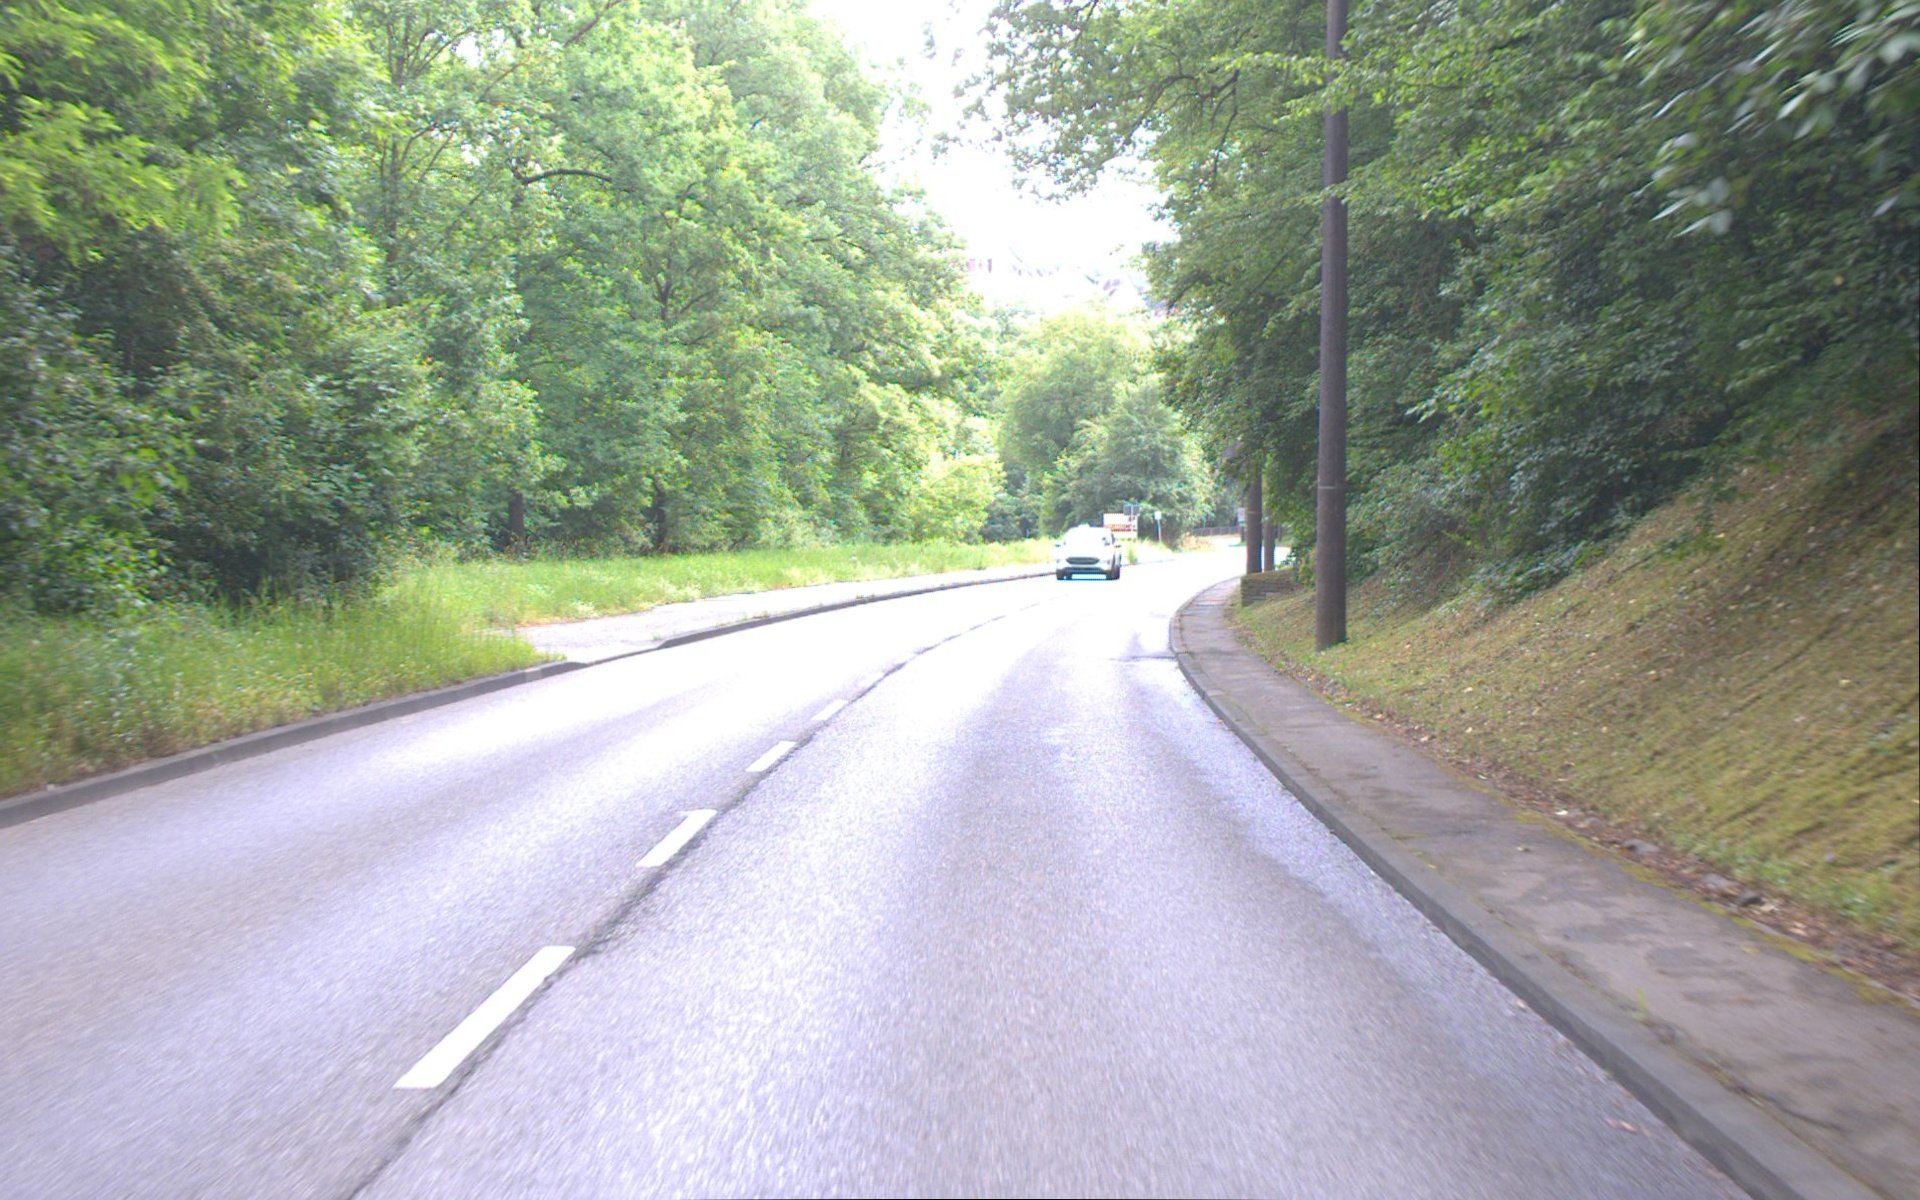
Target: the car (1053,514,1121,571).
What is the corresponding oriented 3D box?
[{"bbox_3d":[4.135,-1.834,111.327,1.994,1.747,4.781,1,0,4],"label":"car"}]
